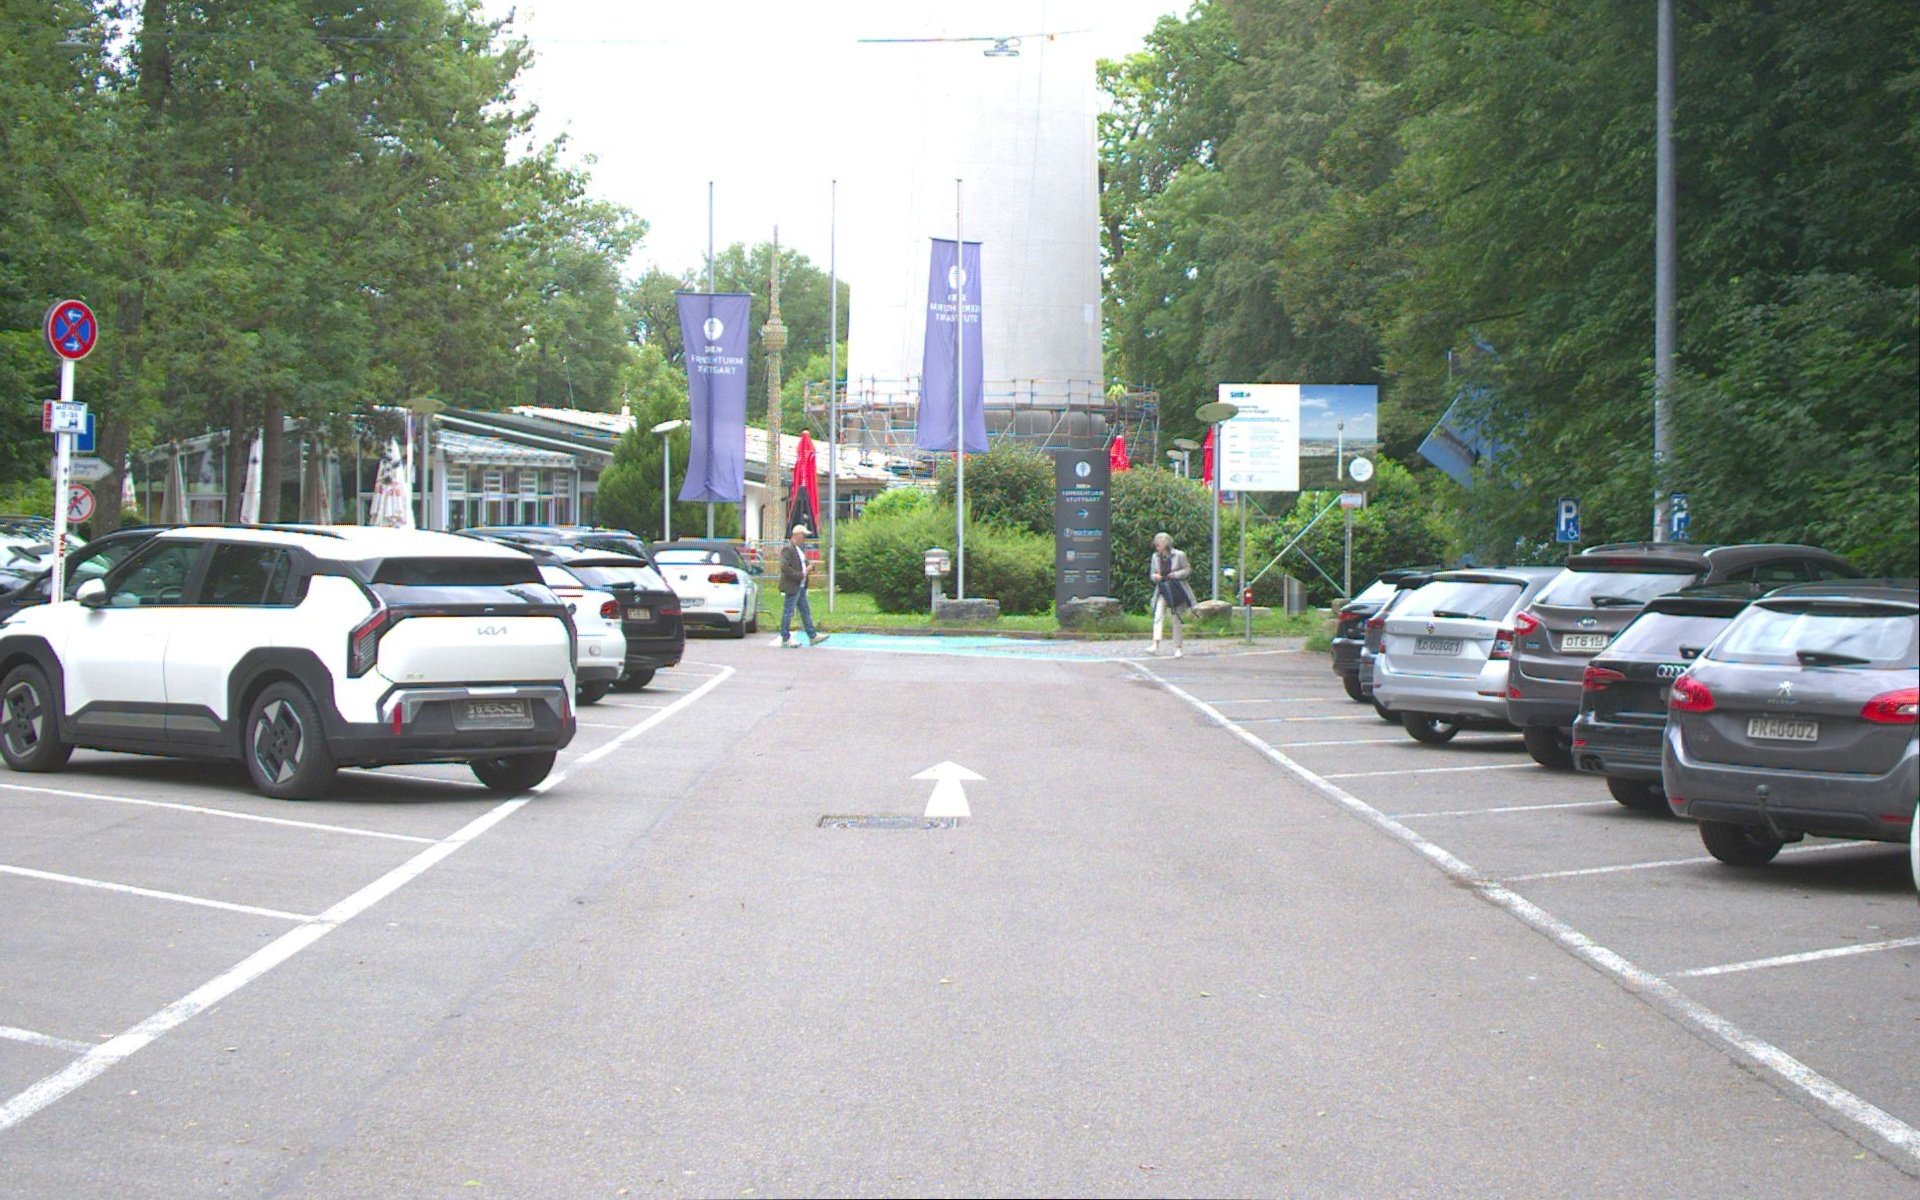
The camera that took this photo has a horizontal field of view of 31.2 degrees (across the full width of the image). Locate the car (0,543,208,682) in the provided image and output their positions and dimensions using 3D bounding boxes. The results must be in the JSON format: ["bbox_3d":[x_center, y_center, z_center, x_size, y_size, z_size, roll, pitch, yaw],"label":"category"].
[{"bbox_3d":[-10.036,0.086,36.889,1.764,1.389,4.389,0,1,-45],"label":"car"}]

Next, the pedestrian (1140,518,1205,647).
[{"bbox_3d":[2.879,-0.241,46.535,0.762,1.719,0.896,1,1,10],"label":"pedestrian"}]

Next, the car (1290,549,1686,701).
[{"bbox_3d":[5.546,0.233,35.809,4.193,1.457,1.898,0,1,-44],"label":"car"}]

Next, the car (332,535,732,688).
[{"bbox_3d":[-4.449,0.078,35.338,4.276,1.438,1.755,2,1,43],"label":"car"}]

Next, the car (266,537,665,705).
[{"bbox_3d":[-4.690,0.157,32.287,1.768,1.438,3.844,0,1,-44],"label":"car"}]

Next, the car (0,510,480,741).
[{"bbox_3d":[-5.618,0.129,25.378,3.996,1.549,1.869,2,2,39],"label":"car"}]

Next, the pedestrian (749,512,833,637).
[{"bbox_3d":[-2.350,-0.362,47.916,0.895,1.719,0.763,1,1,25],"label":"pedestrian"}]

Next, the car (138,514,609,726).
[{"bbox_3d":[-4.871,0.110,28.243,3.975,1.581,1.842,2,2,45],"label":"car"}]

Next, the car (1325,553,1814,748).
[{"bbox_3d":[5.077,0.364,28.407,3.988,1.462,1.834,-1,2,-40],"label":"car"}]

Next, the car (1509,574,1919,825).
[{"bbox_3d":[5.464,0.541,21.433,1.964,1.373,4.252,2,1,43],"label":"car"}]

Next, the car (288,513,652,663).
[{"bbox_3d":[-5.686,-0.168,39.543,4.385,1.603,1.825,2,1,44],"label":"car"}]

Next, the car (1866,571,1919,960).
[{"bbox_3d":[5.453,0.648,14.010,3.572,1.499,1.734,0,1,-43],"label":"car"}]

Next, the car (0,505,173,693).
[{"bbox_3d":[-9.346,-0.054,32.284,3.997,1.657,1.894,2,1,43],"label":"car"}]

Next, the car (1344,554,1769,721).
[{"bbox_3d":[5.565,0.312,31.821,1.909,1.417,3.989,2,1,45],"label":"car"}]

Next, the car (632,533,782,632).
[{"bbox_3d":[-3.811,-0.300,52.343,1.893,1.423,4.000,1,1,1],"label":"car"}]

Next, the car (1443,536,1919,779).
[{"bbox_3d":[5.684,0.369,25.471,4.251,1.631,1.964,0,1,-45],"label":"car"}]

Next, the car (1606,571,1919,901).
[{"bbox_3d":[5.241,0.594,17.374,4.176,1.452,1.804,0,1,-44],"label":"car"}]

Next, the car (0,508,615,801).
[{"bbox_3d":[-4.195,0.253,20.962,4.187,1.591,1.842,2,2,43],"label":"car"}]
